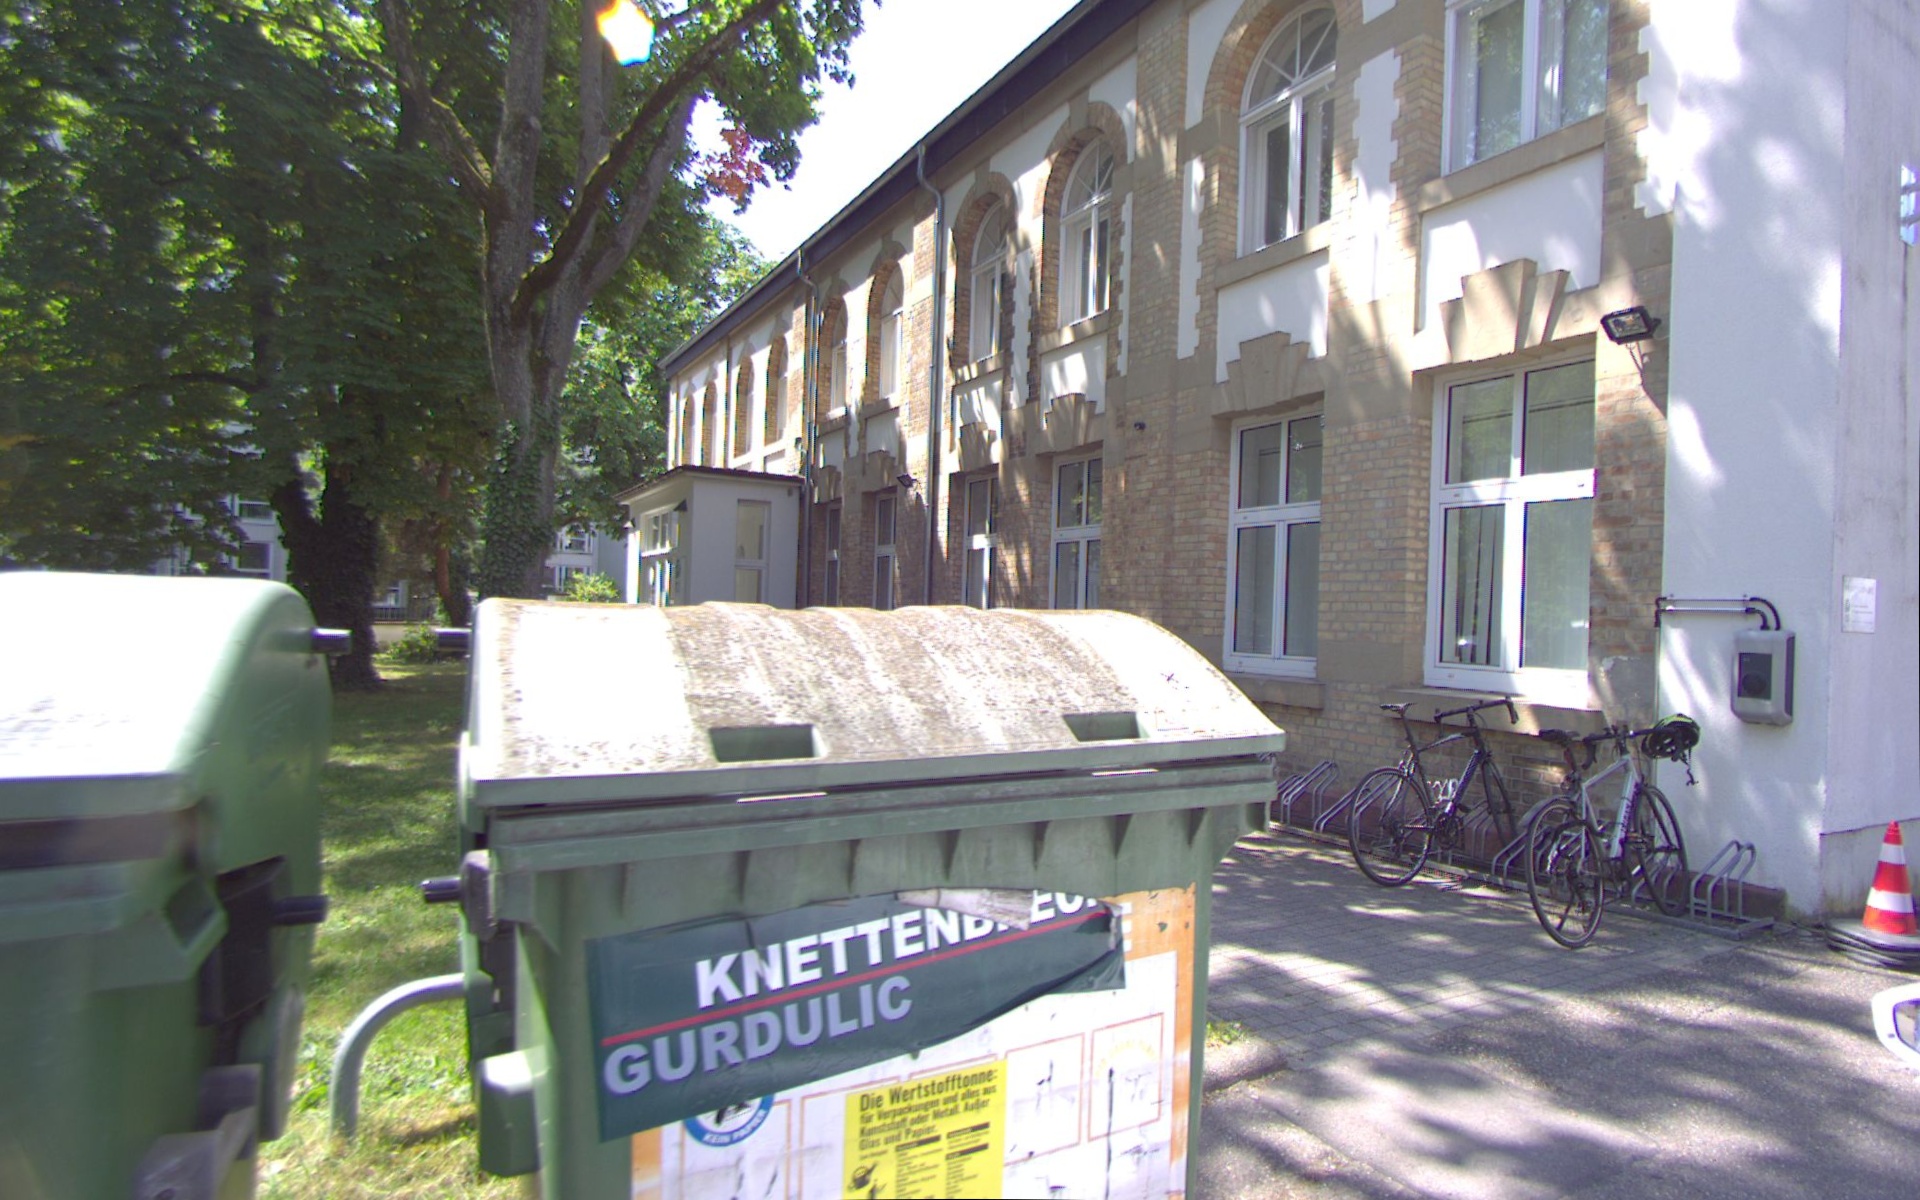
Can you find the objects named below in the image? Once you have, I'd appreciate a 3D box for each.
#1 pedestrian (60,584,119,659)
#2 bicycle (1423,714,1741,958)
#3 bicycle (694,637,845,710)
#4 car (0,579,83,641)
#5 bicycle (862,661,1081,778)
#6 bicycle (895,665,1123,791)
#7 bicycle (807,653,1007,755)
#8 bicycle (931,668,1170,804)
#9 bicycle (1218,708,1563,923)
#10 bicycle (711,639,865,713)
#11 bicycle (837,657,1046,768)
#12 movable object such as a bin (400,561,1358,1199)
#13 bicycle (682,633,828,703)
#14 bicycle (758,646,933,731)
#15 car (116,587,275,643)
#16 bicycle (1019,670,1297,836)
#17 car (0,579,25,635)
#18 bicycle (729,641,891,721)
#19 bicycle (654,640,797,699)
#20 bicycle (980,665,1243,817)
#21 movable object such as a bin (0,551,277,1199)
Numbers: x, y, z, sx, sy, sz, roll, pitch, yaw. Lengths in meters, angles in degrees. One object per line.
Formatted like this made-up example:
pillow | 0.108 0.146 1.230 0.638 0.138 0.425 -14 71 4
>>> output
pedestrian | -18.951 0.458 21.871 0.685 1.588 0.743 1 -1 30
bicycle | 3.199 1.123 5.130 1.708 0.971 0.609 2 -1 -29
bicycle | -2.887 1.101 15.406 2.240 1.025 0.564 2 -1 -38
car | -33.009 0.294 33.986 4.552 2.040 1.995 2 -1 -14
bicycle | 0.159 1.146 10.066 2.236 1.025 0.601 2 -1 -34
bicycle | 0.507 1.159 9.503 2.236 1.025 0.601 2 -1 -34
bicycle | -0.558 1.124 11.270 2.236 1.025 0.601 2 -1 -34
bicycle | 0.850 1.153 8.949 2.236 1.025 0.601 2 -1 -34
bicycle | 2.568 1.179 5.884 2.232 0.971 0.603 2 -1 -29
bicycle | -2.523 1.098 14.955 2.240 1.025 0.601 2 -1 -38
bicycle | -0.157 1.142 10.631 2.236 1.025 0.601 2 -1 -34
movable object such as a bin | -0.196 0.737 1.800 1.393 1.499 1.039 2 -1 -30
bicycle | -3.235 1.056 16.032 2.240 1.025 0.625 2 -1 -38
bicycle | -1.470 1.122 13.169 2.236 1.025 0.601 2 -1 -34
car | -29.970 0.603 39.500 4.543 2.040 1.998 2 -1 -6
bicycle | 1.567 1.114 7.761 2.232 1.096 0.603 2 -1 -29
car | -29.491 0.140 28.150 1.964 1.628 4.393 1 -1 29
bicycle | -2.072 1.099 14.093 2.240 1.025 0.601 2 -1 -38
bicycle | -3.841 1.122 16.593 2.240 0.902 0.648 2 -1 -38
bicycle | 1.293 1.110 8.339 2.232 1.096 0.603 2 -1 -29
movable object such as a bin | -1.544 0.694 1.043 1.247 1.499 1.039 2 -1 -30
